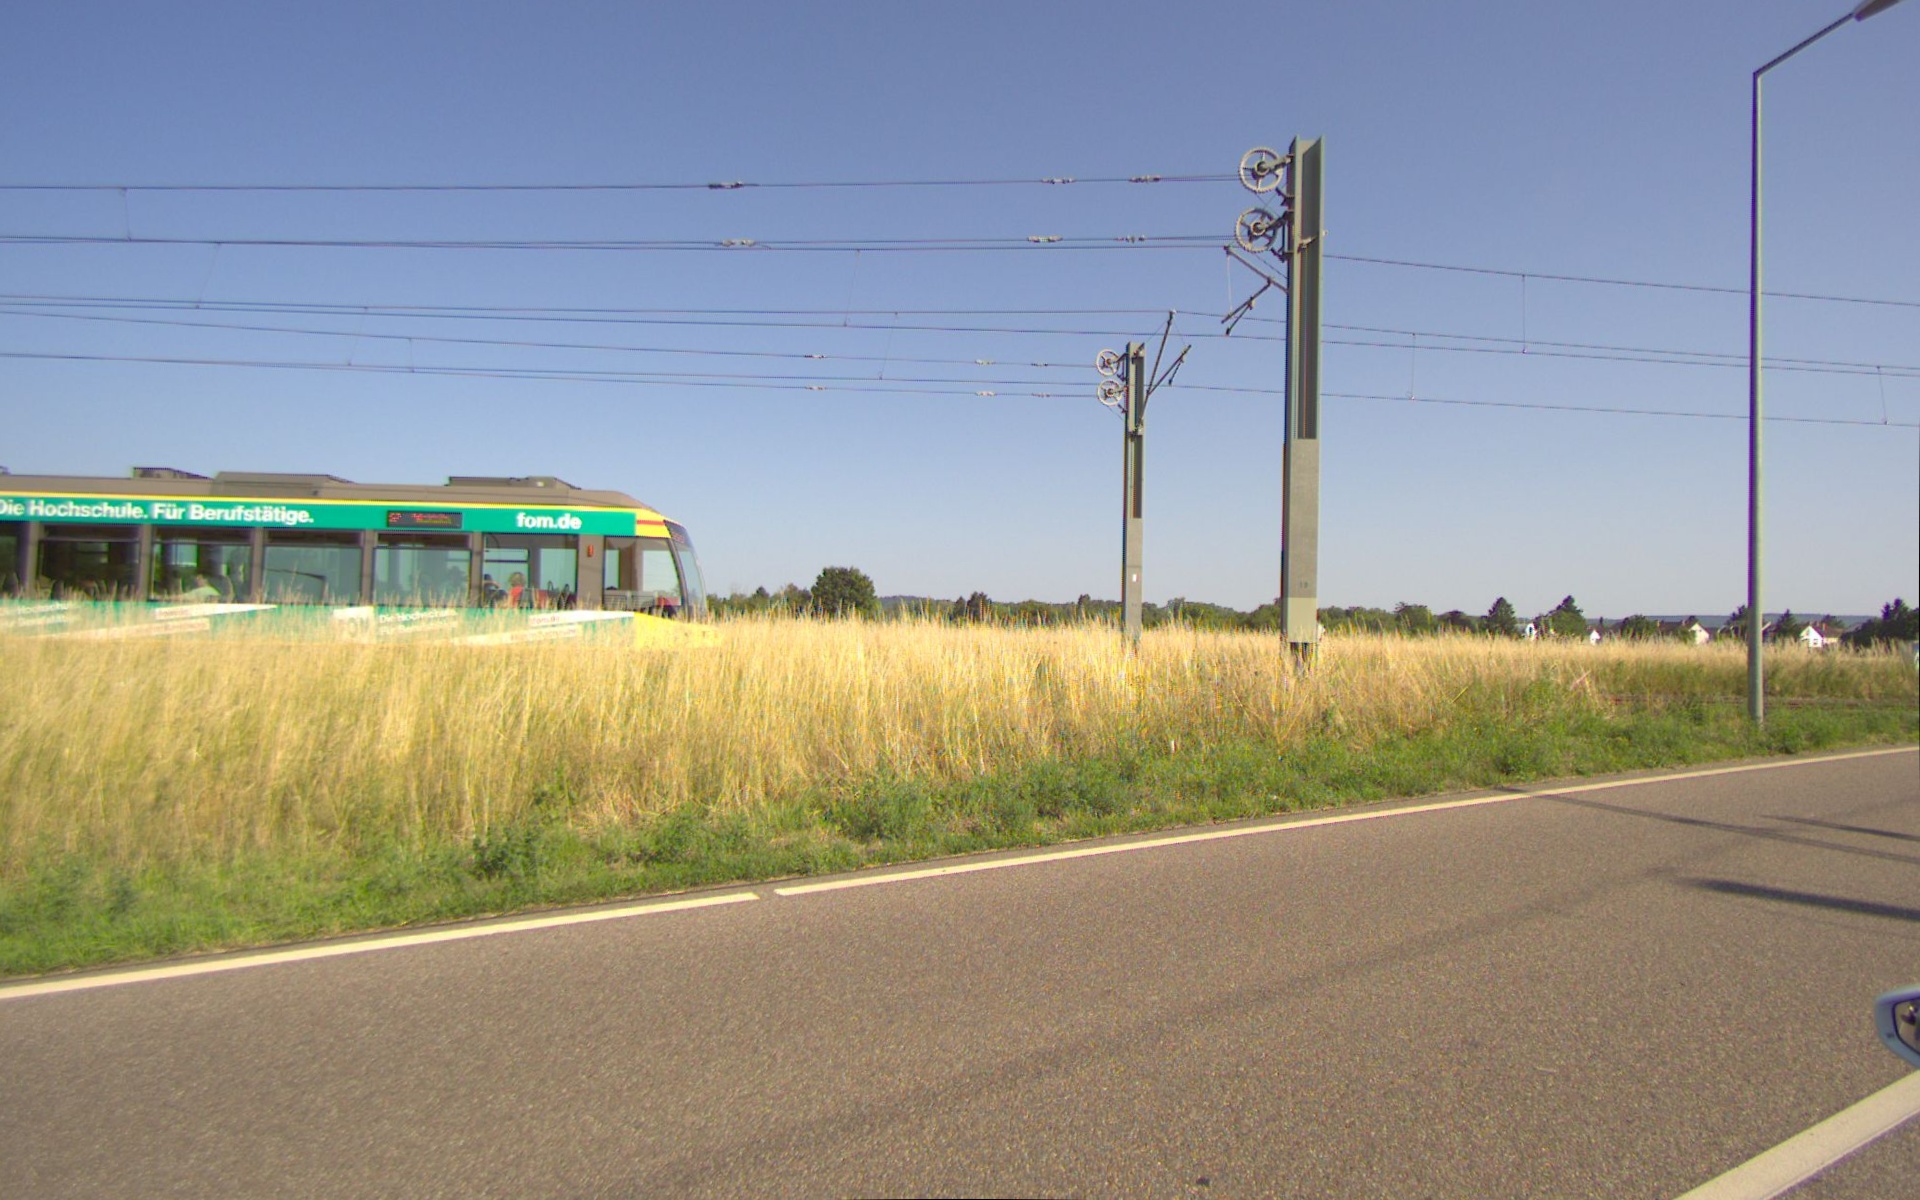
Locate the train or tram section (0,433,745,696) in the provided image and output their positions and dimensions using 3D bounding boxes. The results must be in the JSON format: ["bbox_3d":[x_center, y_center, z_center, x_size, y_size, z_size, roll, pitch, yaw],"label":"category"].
[{"bbox_3d":[-11.191,-0.599,17.758,13.986,3.615,2.915,3,0,-3],"label":"train or tram section"}]

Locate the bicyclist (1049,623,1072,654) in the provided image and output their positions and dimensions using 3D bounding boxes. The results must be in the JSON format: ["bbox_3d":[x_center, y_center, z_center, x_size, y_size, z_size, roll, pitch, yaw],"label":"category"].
[{"bbox_3d":[4.113,1.580,41.043,0.775,1.221,0.747,2,-1,-7],"label":"bicyclist"}]
